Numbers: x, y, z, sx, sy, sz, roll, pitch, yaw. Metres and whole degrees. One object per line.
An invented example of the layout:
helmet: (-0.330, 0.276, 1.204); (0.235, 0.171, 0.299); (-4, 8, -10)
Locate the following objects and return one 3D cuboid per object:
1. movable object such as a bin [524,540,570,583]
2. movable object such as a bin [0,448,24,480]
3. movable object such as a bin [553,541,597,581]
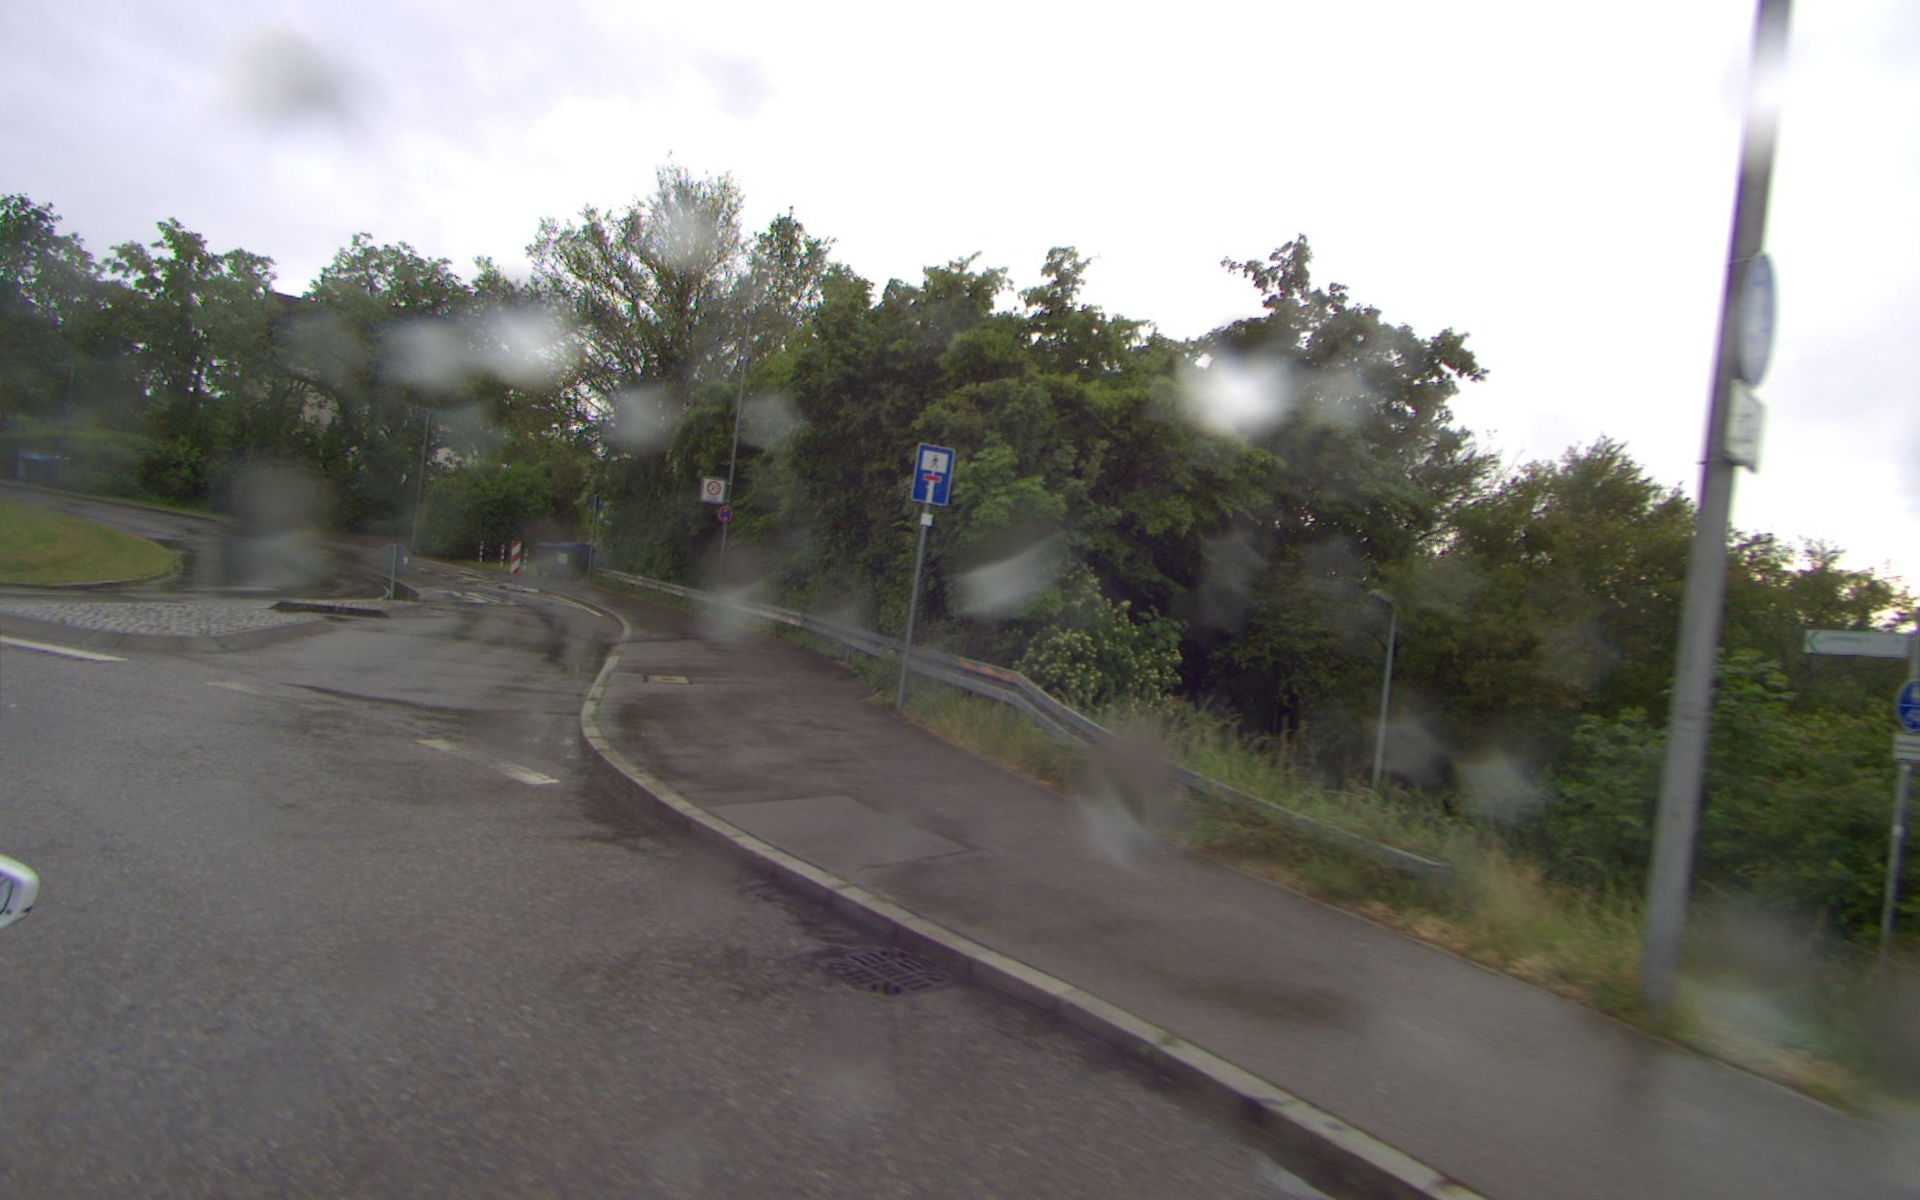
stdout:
movable object such as a bin: (-15.942, -1.499, 38.840); (1.190, 1.455, 1.061); (6, 1, -45)
movable object such as a bin: (-49.095, -7.023, 51.571); (1.404, 1.455, 1.196); (8, 1, 30)
movable object such as a bin: (-14.596, -1.464, 38.120); (1.189, 1.360, 1.061); (2, 4, -44)
